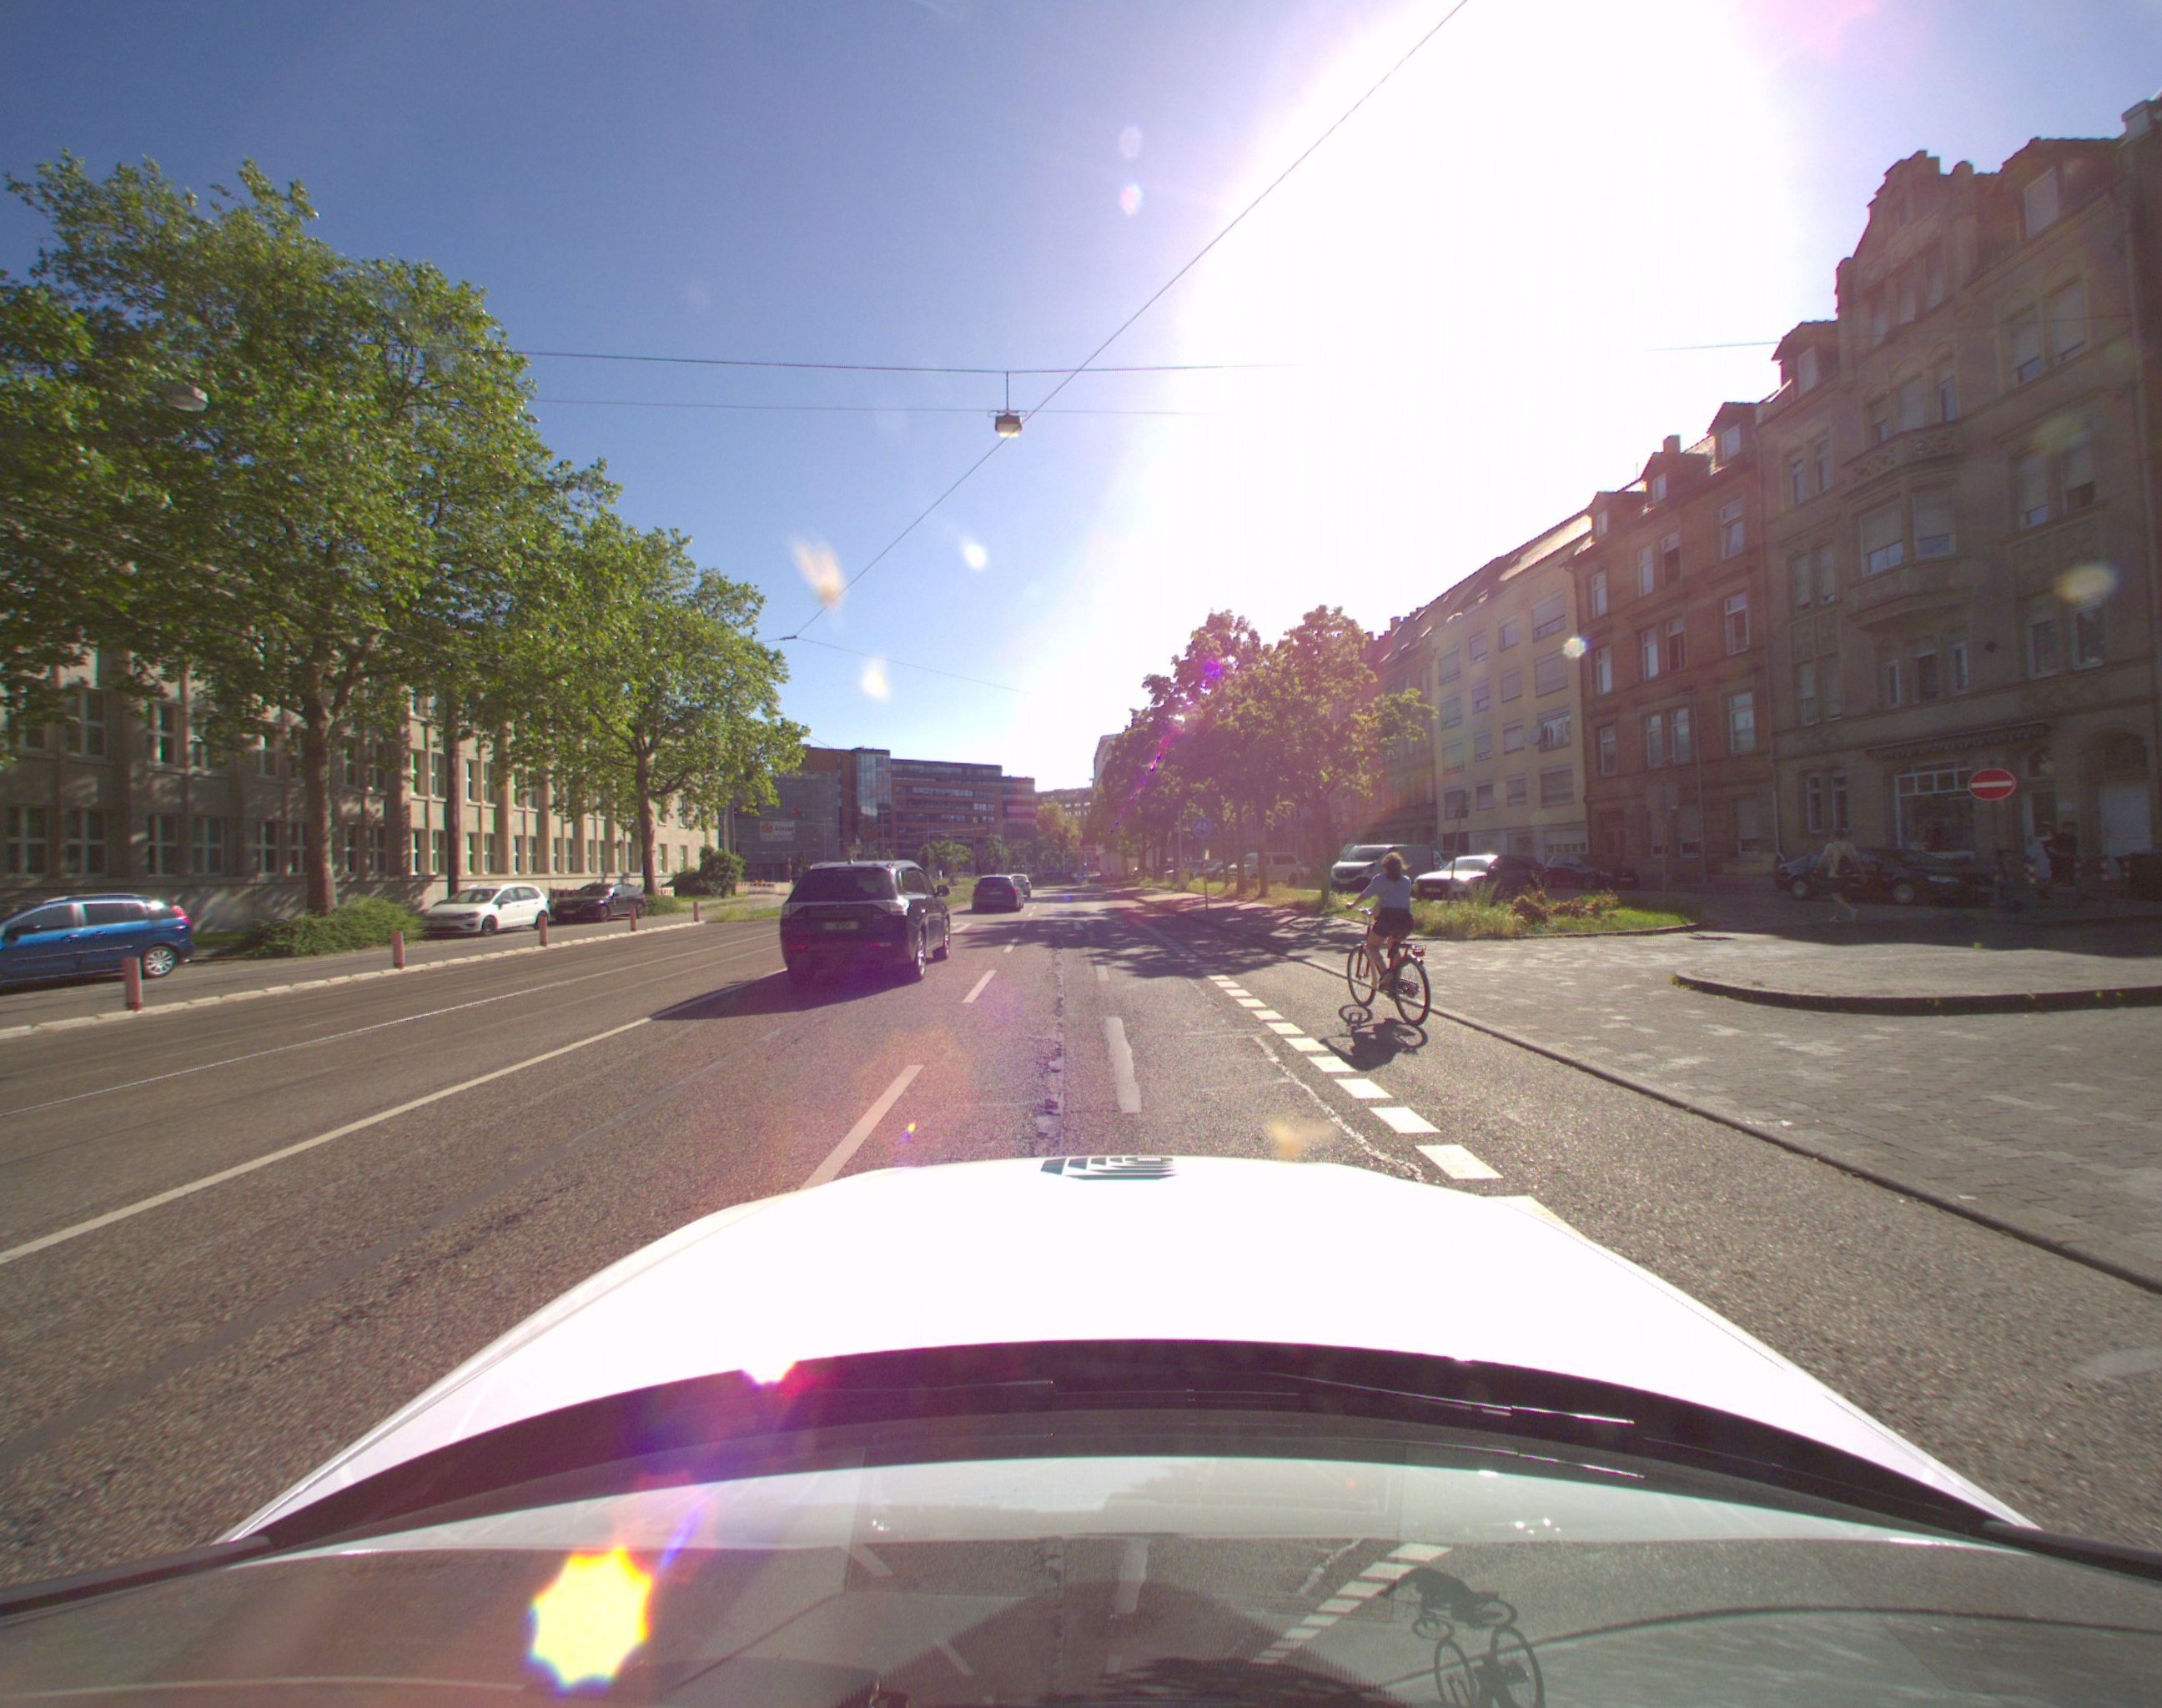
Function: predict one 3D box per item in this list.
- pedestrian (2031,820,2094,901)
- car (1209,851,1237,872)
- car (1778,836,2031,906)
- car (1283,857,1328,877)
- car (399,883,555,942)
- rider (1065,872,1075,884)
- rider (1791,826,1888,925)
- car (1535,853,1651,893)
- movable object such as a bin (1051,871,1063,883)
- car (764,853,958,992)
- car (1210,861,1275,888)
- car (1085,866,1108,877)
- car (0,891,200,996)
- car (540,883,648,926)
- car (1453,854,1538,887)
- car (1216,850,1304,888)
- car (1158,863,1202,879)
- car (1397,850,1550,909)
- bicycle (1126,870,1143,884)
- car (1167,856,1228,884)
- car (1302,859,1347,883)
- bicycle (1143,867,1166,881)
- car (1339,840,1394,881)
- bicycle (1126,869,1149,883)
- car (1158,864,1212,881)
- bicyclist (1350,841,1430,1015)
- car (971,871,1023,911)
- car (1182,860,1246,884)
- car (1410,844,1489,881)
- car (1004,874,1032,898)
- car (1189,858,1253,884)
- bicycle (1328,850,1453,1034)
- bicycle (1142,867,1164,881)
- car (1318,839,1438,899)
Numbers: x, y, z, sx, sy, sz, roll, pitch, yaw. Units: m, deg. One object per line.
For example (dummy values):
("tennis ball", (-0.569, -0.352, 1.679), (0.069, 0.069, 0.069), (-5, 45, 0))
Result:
("pedestrian", (21.900, 0.140, 18.179), (0.568, 1.758, 0.615), (-2, -1, 0))
("car", (17.057, 0.871, 98.052), (2.343, 2.357, 5.184), (-3, -1, -1))
("car", (20.207, 0.418, 20.329), (1.798, 1.474, 4.490), (-2, -1, 1))
("car", (18.546, 1.066, 67.469), (1.991, 1.529, 4.503), (-3, -1, -6))
("car", (-19.091, 1.795, 26.032), (1.826, 1.588, 4.390), (-2, -1, -3))
("rider", (-1.126, 2.432, 83.575), (0.498, 1.176, 1.683), (-2, 0, 15))
("rider", (14.739, 0.406, 15.835), (0.964, 1.820, 1.032), (-1, -1, -24))
("car", (20.139, 0.726, 32.275), (1.723, 1.420, 4.290), (-2, -1, -2))
("movable object such as a bin", (-2.982, 2.908, 102.884), (1.098, 1.398, 1.327), (-2, -1, 18))
("car", (-3.069, 0.914, 12.398), (1.831, 1.682, 4.638), (-1, -2, -2))
("car", (10.446, 1.328, 52.555), (4.048, 1.478, 1.793), (-3, -2, -36))
("car", (3.046, 3.455, 159.319), (3.959, 2.014, 2.007), (-2, -2, 13))
("car", (-18.709, 1.566, 14.313), (1.826, 1.639, 4.389), (-2, -1, -4))
("car", (-19.366, 1.975, 32.612), (1.824, 1.492, 4.179), (-2, -1, -1))
("car", (19.972, 0.795, 39.442), (1.873, 1.420, 4.160), (-3, -1, -2))
("car", (10.989, 0.923, 49.848), (5.206, 2.013, 2.079), (-3, -2, -32))
("car", (10.734, 1.852, 88.043), (4.488, 1.566, 1.917), (-1, -1, -34))
("car", (11.903, 0.722, 24.594), (4.902, 1.435, 1.998), (-3, -1, -35))
("bicycle", (5.070, 2.175, 77.404), (0.760, 1.290, 1.608), (-3, -1, 37))
("car", (9.734, 1.345, 68.083), (4.903, 2.013, 2.077), (-3, -2, -37))
("car", (18.495, 1.300, 62.041), (1.988, 1.691, 4.510), (-1, -1, -1))
("bicycle", (6.967, 1.915, 77.200), (1.940, 1.180, 0.899), (-3, -2, -3))
("car", (19.256, 0.435, 55.130), (1.988, 2.585, 4.511), (-3, -1, -1))
("bicycle", (5.483, 2.140, 79.673), (2.092, 1.365, 0.785), (-1, -2, -8))
("car", (9.417, 1.694, 73.879), (4.773, 1.380, 2.023), (-1, -1, -36))
("bicyclist", (3.068, 0.707, 8.137), (0.436, 1.639, 0.778), (-2, -1, -1))
("car", (-3.187, 1.451, 31.722), (1.730, 1.424, 4.461), (1, -3, -3))
("car", (10.781, 1.449, 65.796), (4.898, 1.648, 2.079), (-3, -2, -32))
("car", (19.936, 0.477, 44.304), (1.989, 1.800, 4.621), (-3, -1, -3))
("car", (-3.886, 2.006, 49.964), (1.629, 1.424, 3.774), (1, -3, -5))
("car", (10.654, 1.279, 62.021), (4.529, 1.727, 1.979), (-3, -2, -32))
("bicycle", (3.075, 0.802, 8.289), (0.436, 1.639, 1.937), (-2, -1, -2))
("bicycle", (6.868, 1.942, 78.118), (1.953, 1.192, 0.840), (-3, -1, -3))
("car", (11.697, 0.567, 31.965), (4.903, 2.075, 1.998), (-3, -1, -37))
